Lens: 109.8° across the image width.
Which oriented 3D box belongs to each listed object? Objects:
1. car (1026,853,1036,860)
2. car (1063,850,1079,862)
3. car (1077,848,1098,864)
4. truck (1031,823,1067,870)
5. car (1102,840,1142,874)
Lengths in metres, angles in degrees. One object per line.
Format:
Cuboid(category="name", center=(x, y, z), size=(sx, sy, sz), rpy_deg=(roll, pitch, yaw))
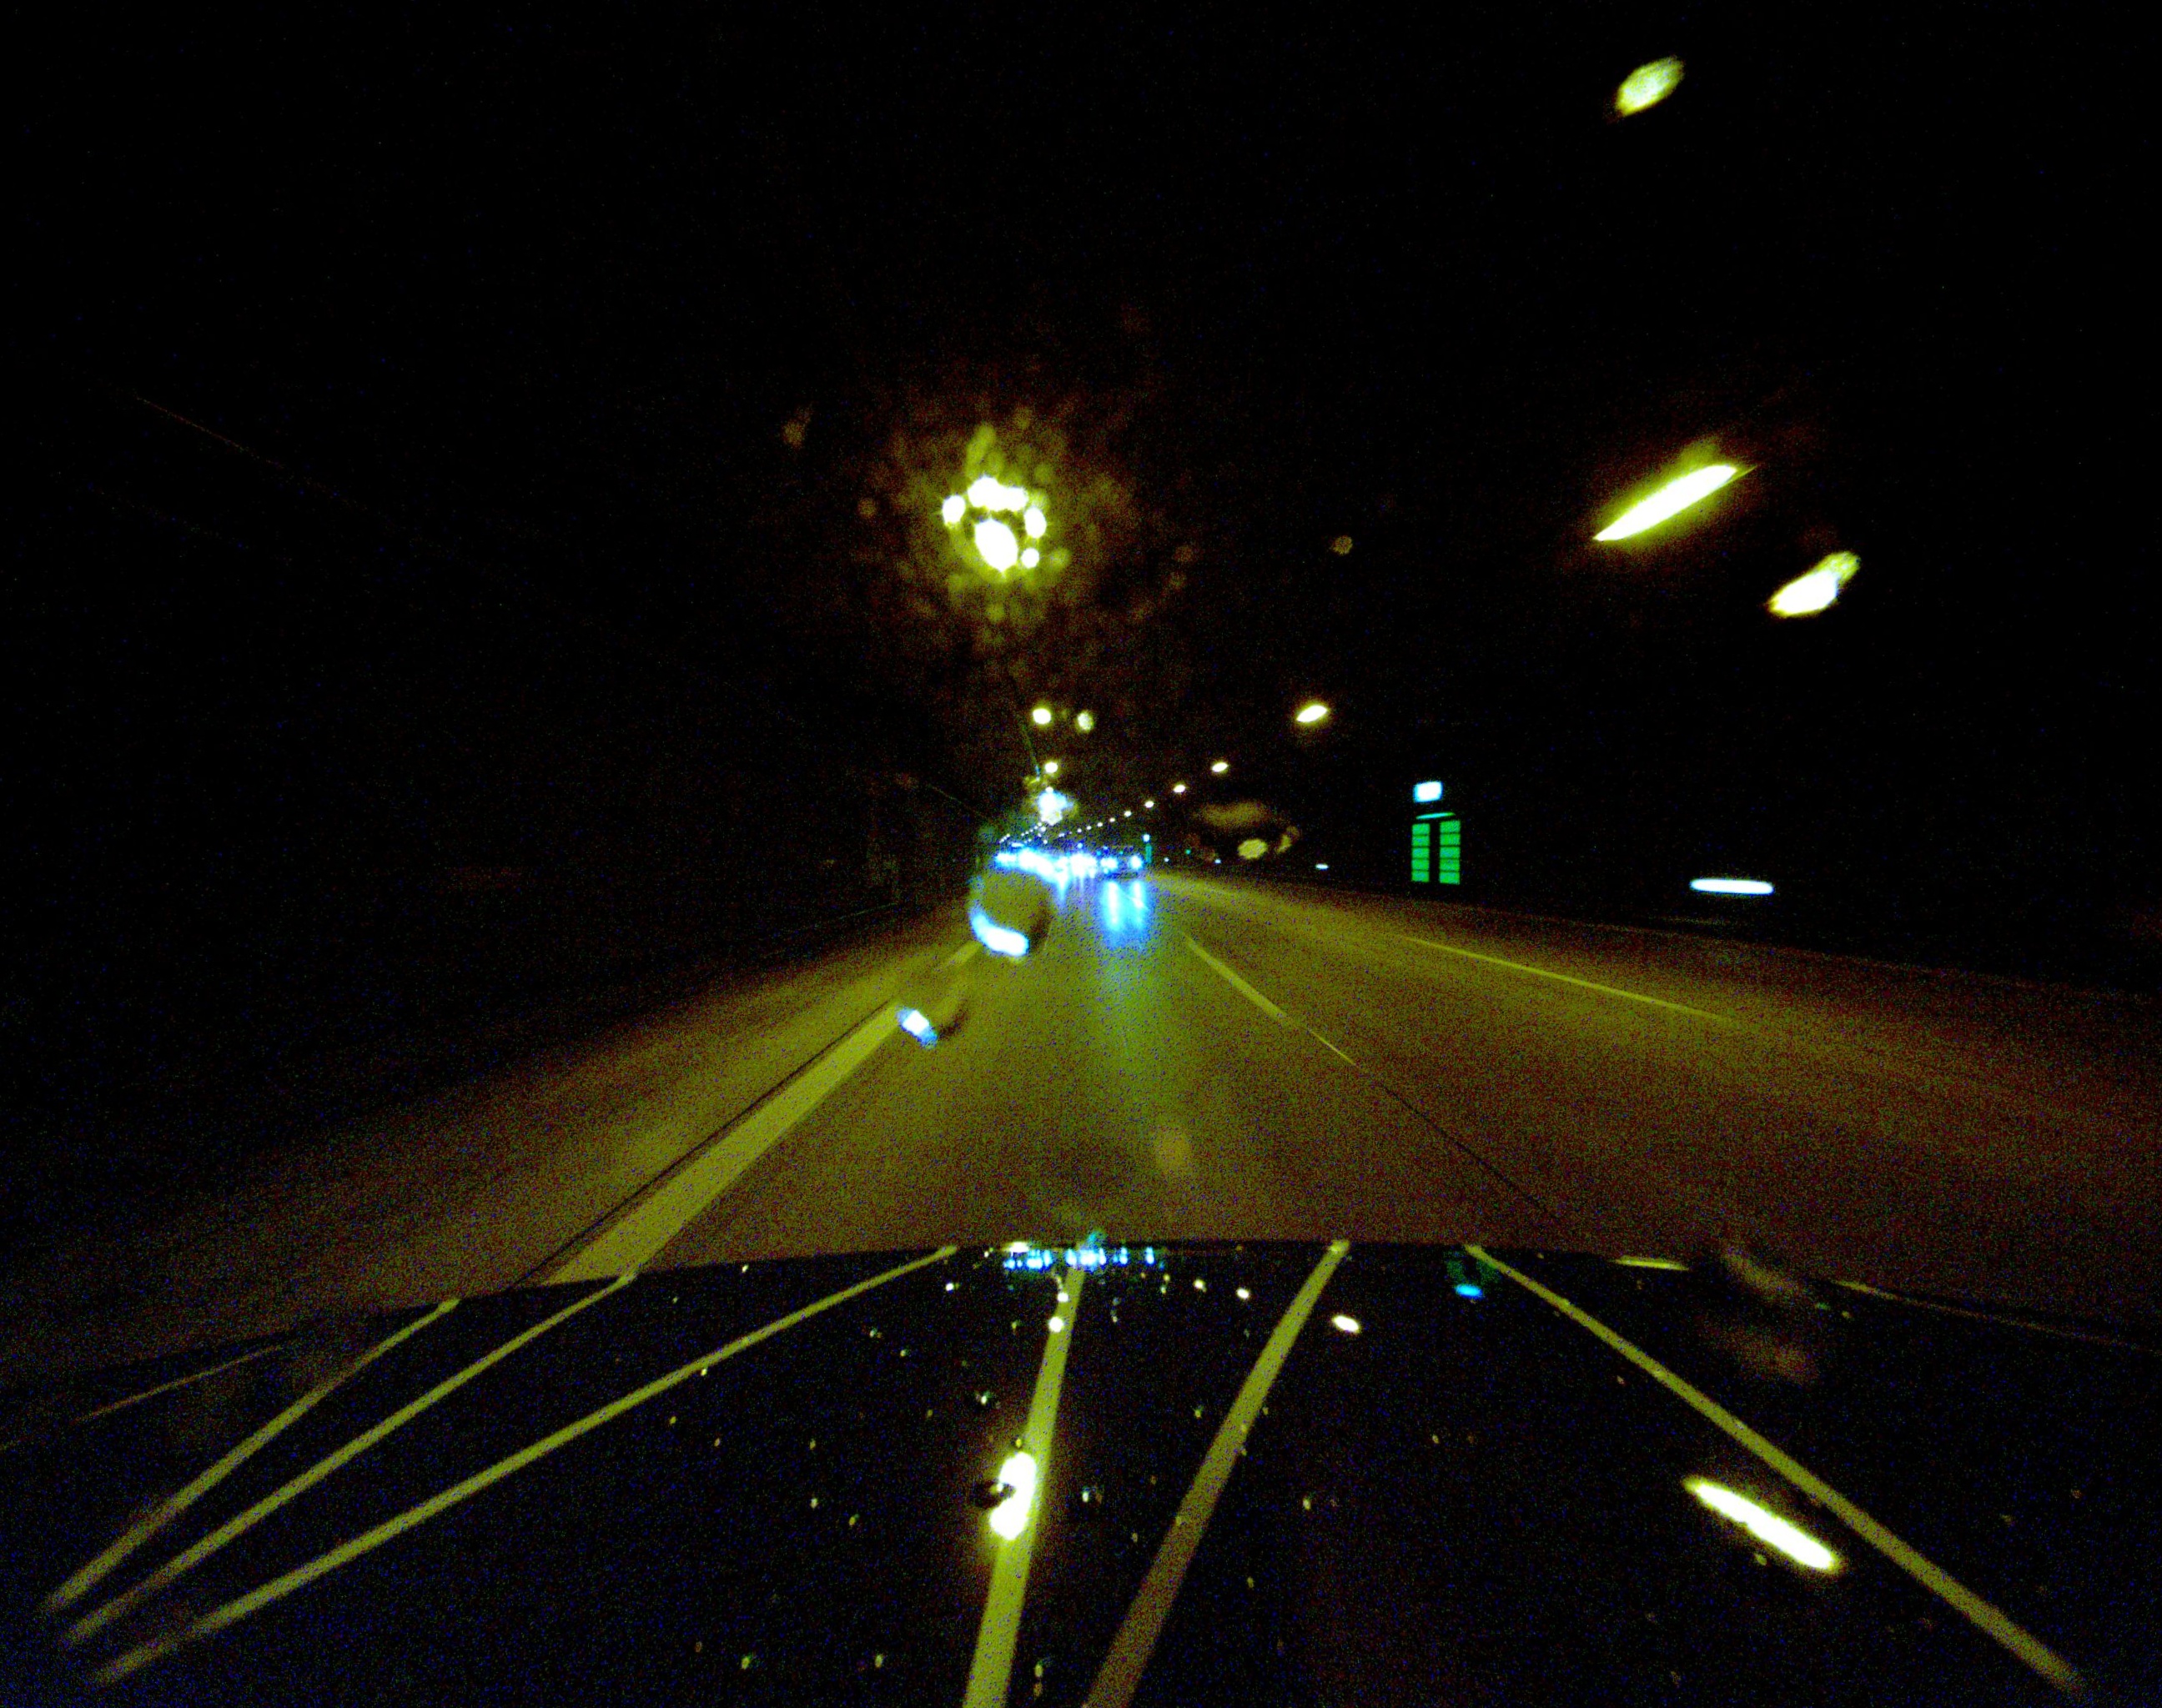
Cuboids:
Cuboid(category="car", center=(-11.734, 0.580, 178.272), size=(2.000, 1.729, 3.997), rpy_deg=(-2, 0, -8))
Cuboid(category="car", center=(-1.319, 0.243, 100.318), size=(1.759, 1.567, 3.998), rpy_deg=(-2, 0, -5))
Cuboid(category="car", center=(0.635, 0.187, 79.548), size=(1.911, 1.638, 3.998), rpy_deg=(-2, 0, -4))
Cuboid(category="truck", center=(-3.070, -0.730, 73.177), size=(3.143, 4.136, 7.385), rpy_deg=(-2, 1, -2))
Cuboid(category="car", center=(2.518, 0.234, 47.927), size=(1.999, 2.001, 4.360), rpy_deg=(-1, -1, -3))
